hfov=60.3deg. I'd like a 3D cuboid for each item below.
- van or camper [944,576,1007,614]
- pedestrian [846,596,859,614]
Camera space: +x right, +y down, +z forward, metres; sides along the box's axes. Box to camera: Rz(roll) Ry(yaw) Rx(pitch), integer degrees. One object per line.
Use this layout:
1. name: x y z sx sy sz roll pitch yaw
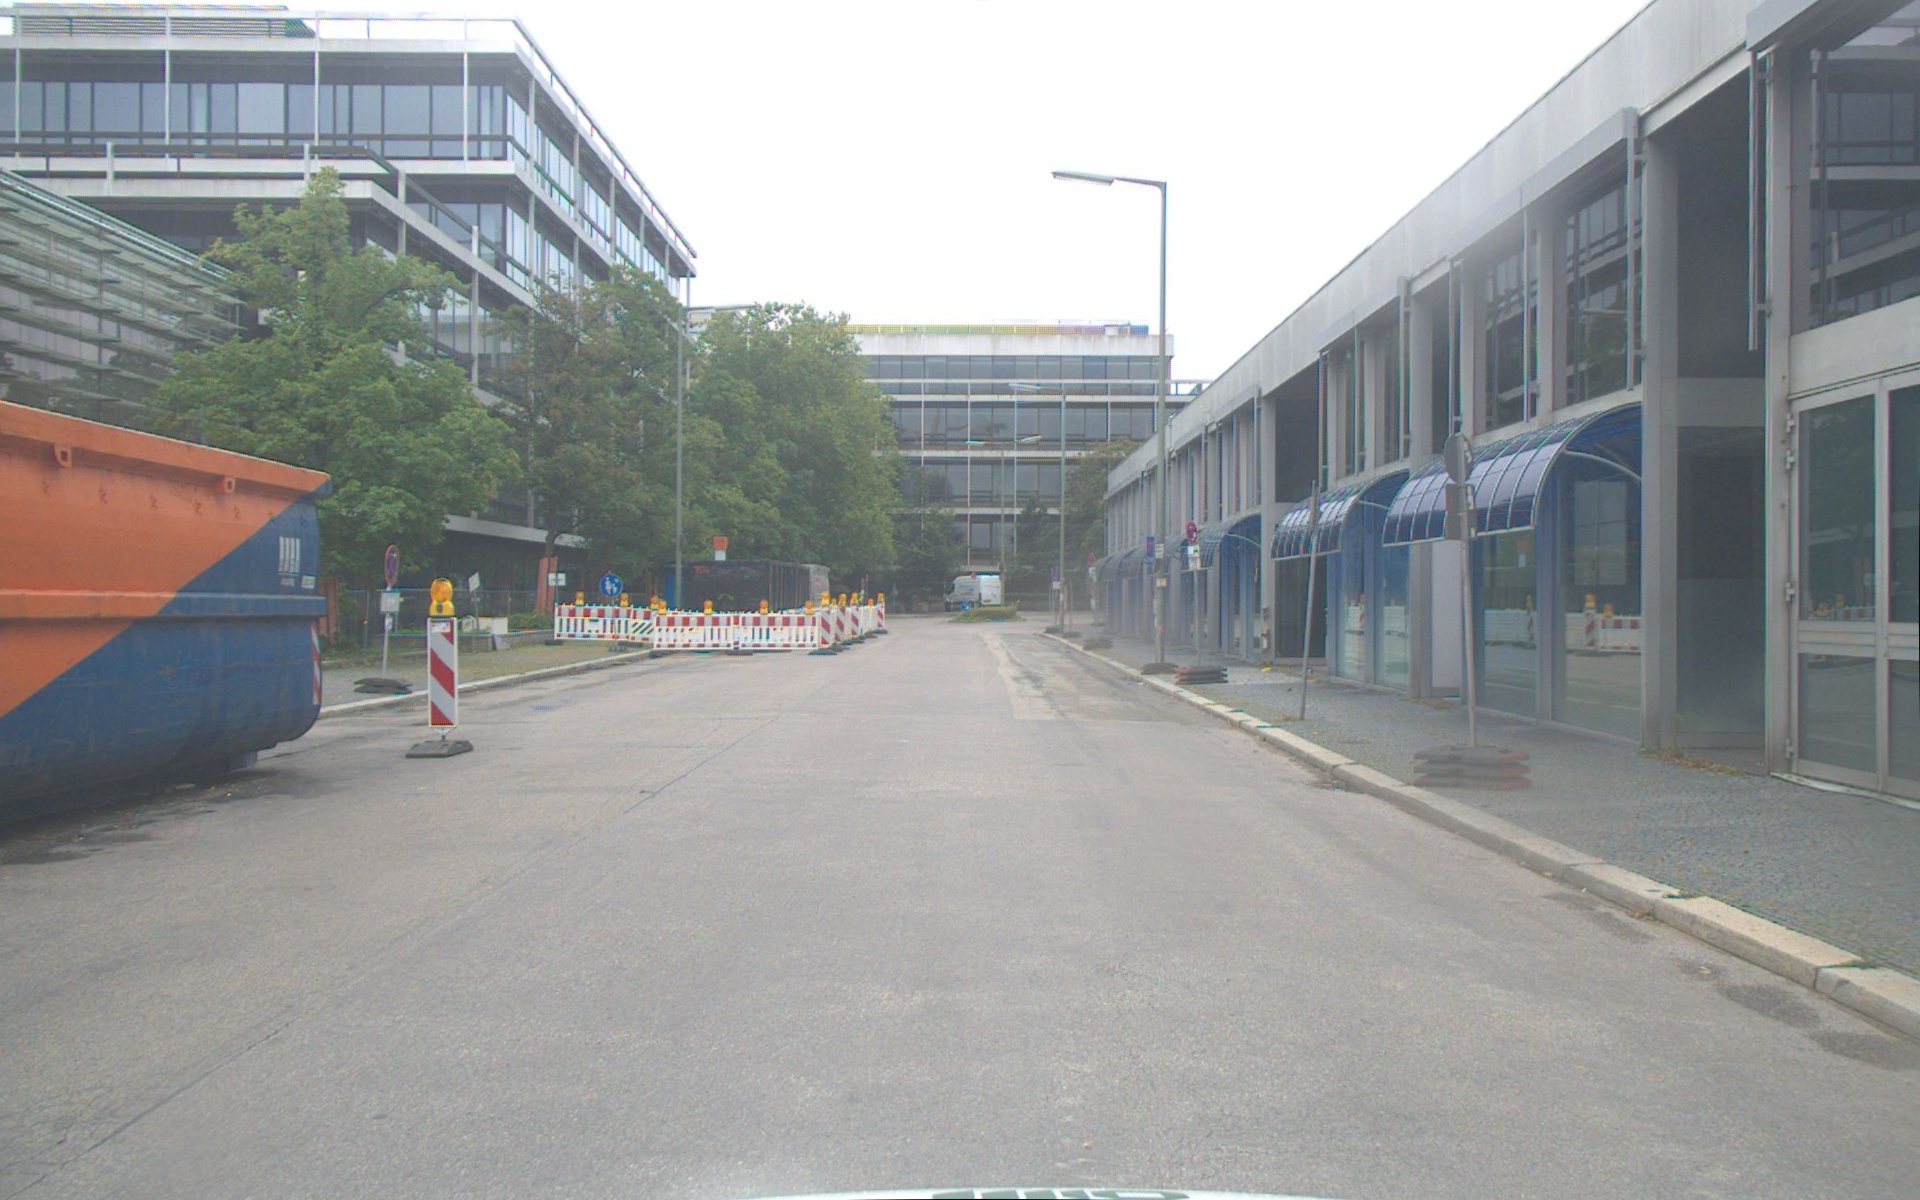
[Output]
1. van or camper: 1.101 -0.349 122.545 2.128 2.626 6.486 1 -1 -25
2. pedestrian: -7.818 0.365 120.391 0.906 1.300 0.542 1 0 2
